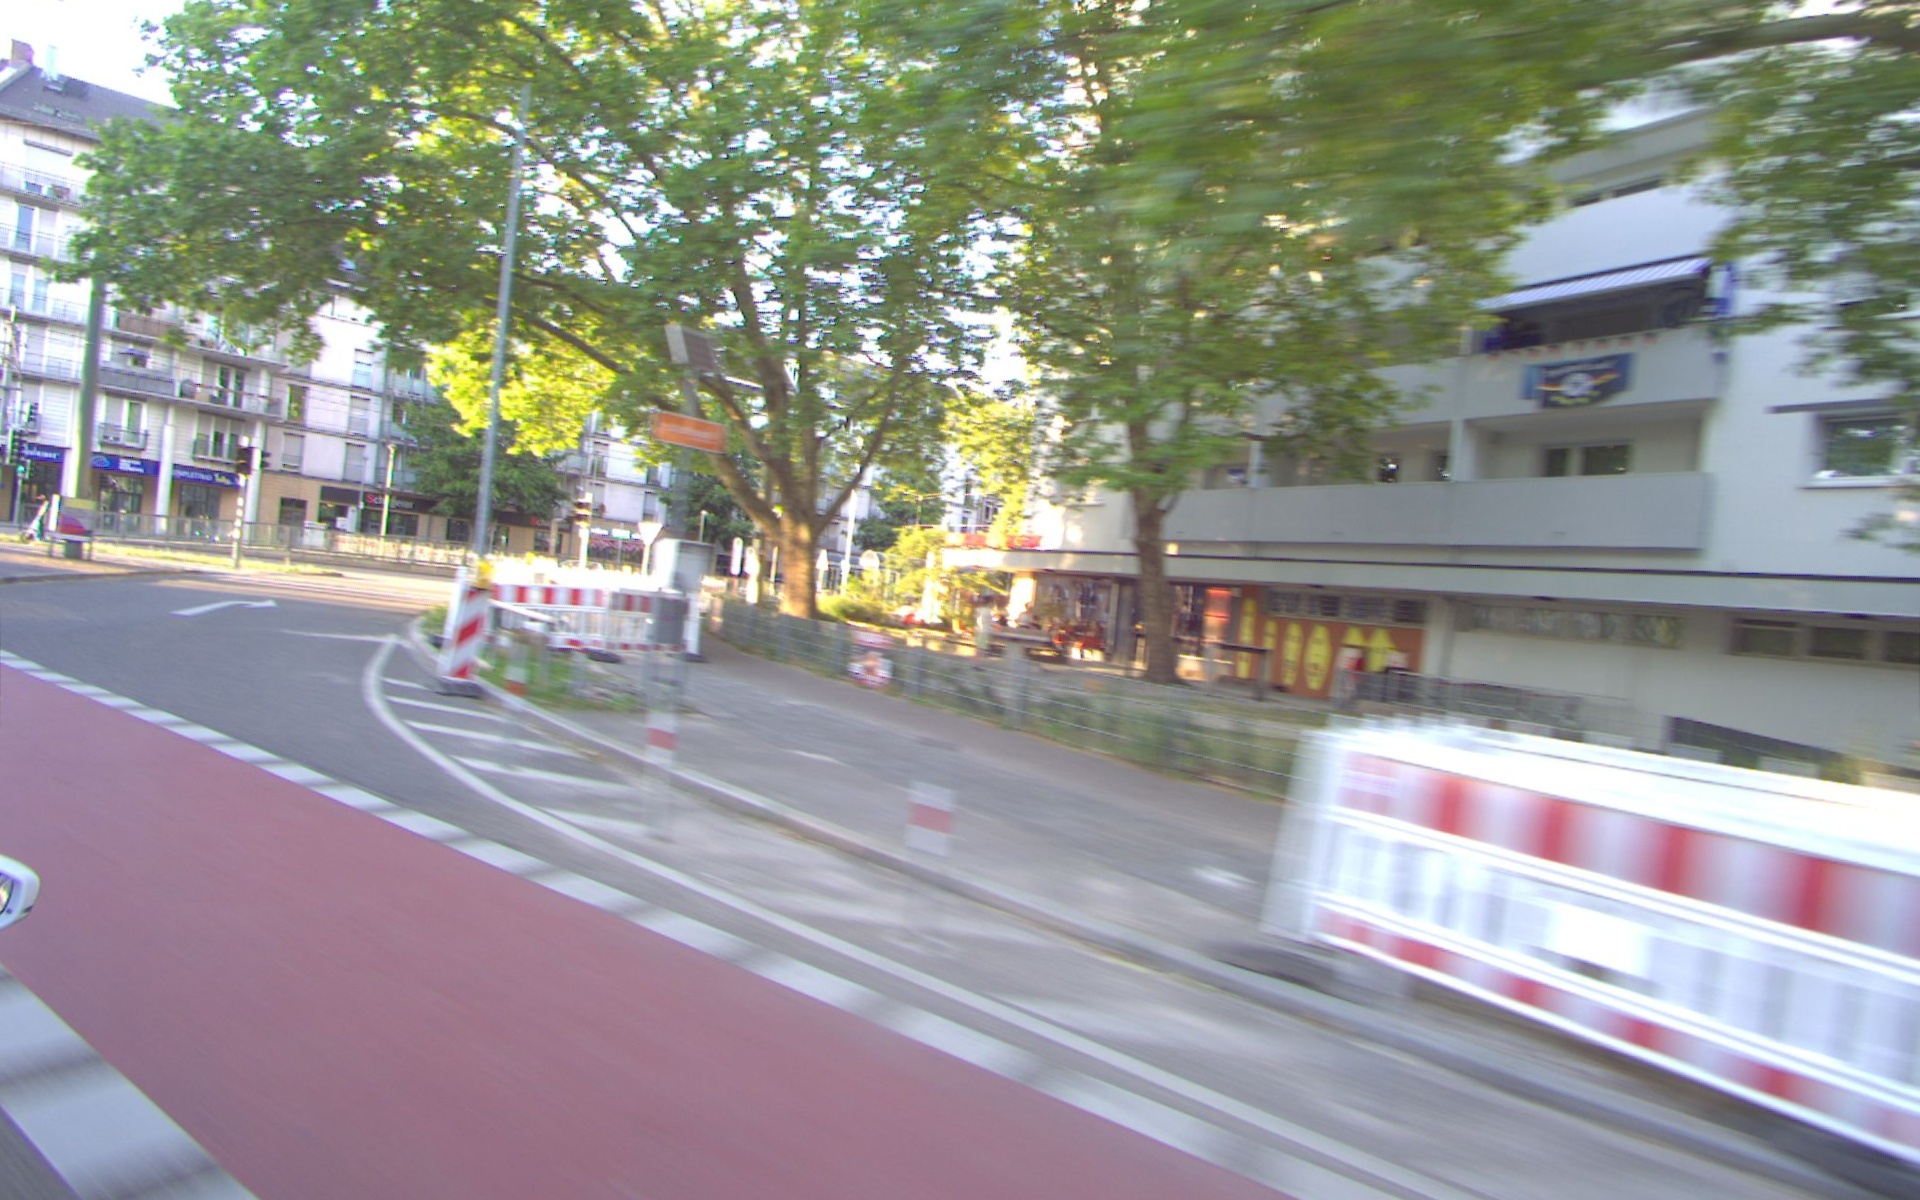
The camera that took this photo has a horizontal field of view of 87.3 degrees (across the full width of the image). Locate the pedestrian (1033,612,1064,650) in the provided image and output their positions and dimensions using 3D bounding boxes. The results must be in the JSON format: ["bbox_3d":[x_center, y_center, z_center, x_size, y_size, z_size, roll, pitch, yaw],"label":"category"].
[{"bbox_3d":[2.943,1.029,33.411,0.665,1.150,0.619,6,1,-39],"label":"pedestrian"}]

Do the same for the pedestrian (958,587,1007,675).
[{"bbox_3d":[0.497,0.667,21.699,0.704,1.780,0.662,7,1,17],"label":"pedestrian"}]

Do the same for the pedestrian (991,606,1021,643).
[{"bbox_3d":[1.515,0.805,33.104,0.625,1.126,0.570,6,1,-40],"label":"pedestrian"}]

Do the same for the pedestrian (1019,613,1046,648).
[{"bbox_3d":[2.351,0.989,32.756,0.575,1.041,0.653,6,1,-18],"label":"pedestrian"}]

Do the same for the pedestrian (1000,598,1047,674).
[{"bbox_3d":[1.552,0.883,24.698,0.710,1.780,0.657,6,1,-32],"label":"pedestrian"}]

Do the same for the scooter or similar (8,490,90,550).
[{"bbox_3d":[-22.625,-1.976,25.004,1.366,1.266,0.545,7,1,-6],"label":"scooter or similar"}]

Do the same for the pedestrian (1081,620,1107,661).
[{"bbox_3d":[4.179,1.271,31.380,0.538,1.193,0.558,7,1,21],"label":"pedestrian"}]

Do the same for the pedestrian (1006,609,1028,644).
[{"bbox_3d":[1.969,0.909,34.818,0.596,1.143,0.625,7,1,0],"label":"pedestrian"}]
